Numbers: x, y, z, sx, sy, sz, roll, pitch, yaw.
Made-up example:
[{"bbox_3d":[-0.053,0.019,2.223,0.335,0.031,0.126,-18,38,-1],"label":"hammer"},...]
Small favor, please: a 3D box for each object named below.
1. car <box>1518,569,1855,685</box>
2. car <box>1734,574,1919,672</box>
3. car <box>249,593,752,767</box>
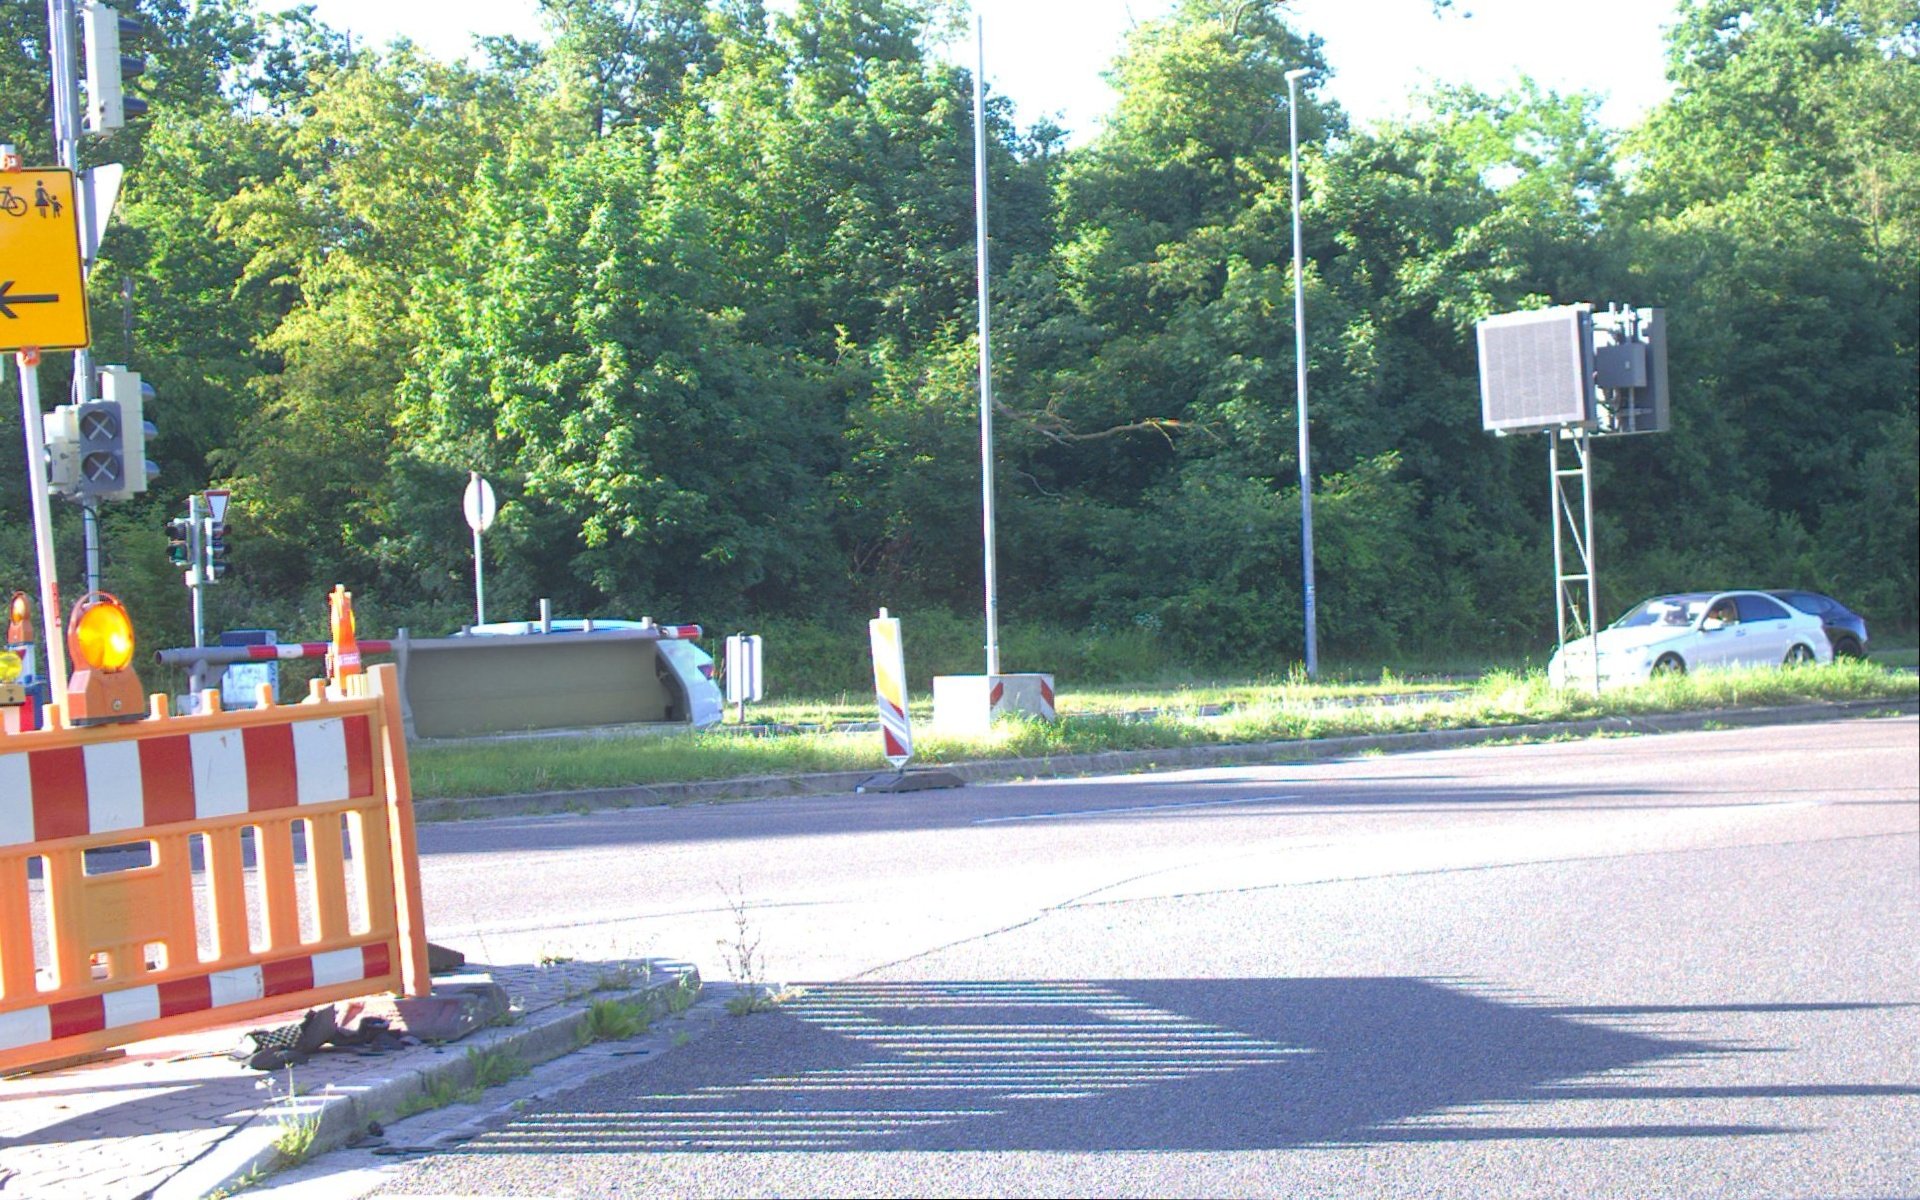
[{"bbox_3d":[10.100,0.363,47.628,4.793,1.431,1.999,-2,0,-40],"label":"car"},{"bbox_3d":[14.637,0.326,54.691,4.793,1.431,1.999,-2,0,-40],"label":"car"},{"bbox_3d":[-4.708,0.796,35.650,4.820,1.575,1.999,-2,0,-41],"label":"car"}]
